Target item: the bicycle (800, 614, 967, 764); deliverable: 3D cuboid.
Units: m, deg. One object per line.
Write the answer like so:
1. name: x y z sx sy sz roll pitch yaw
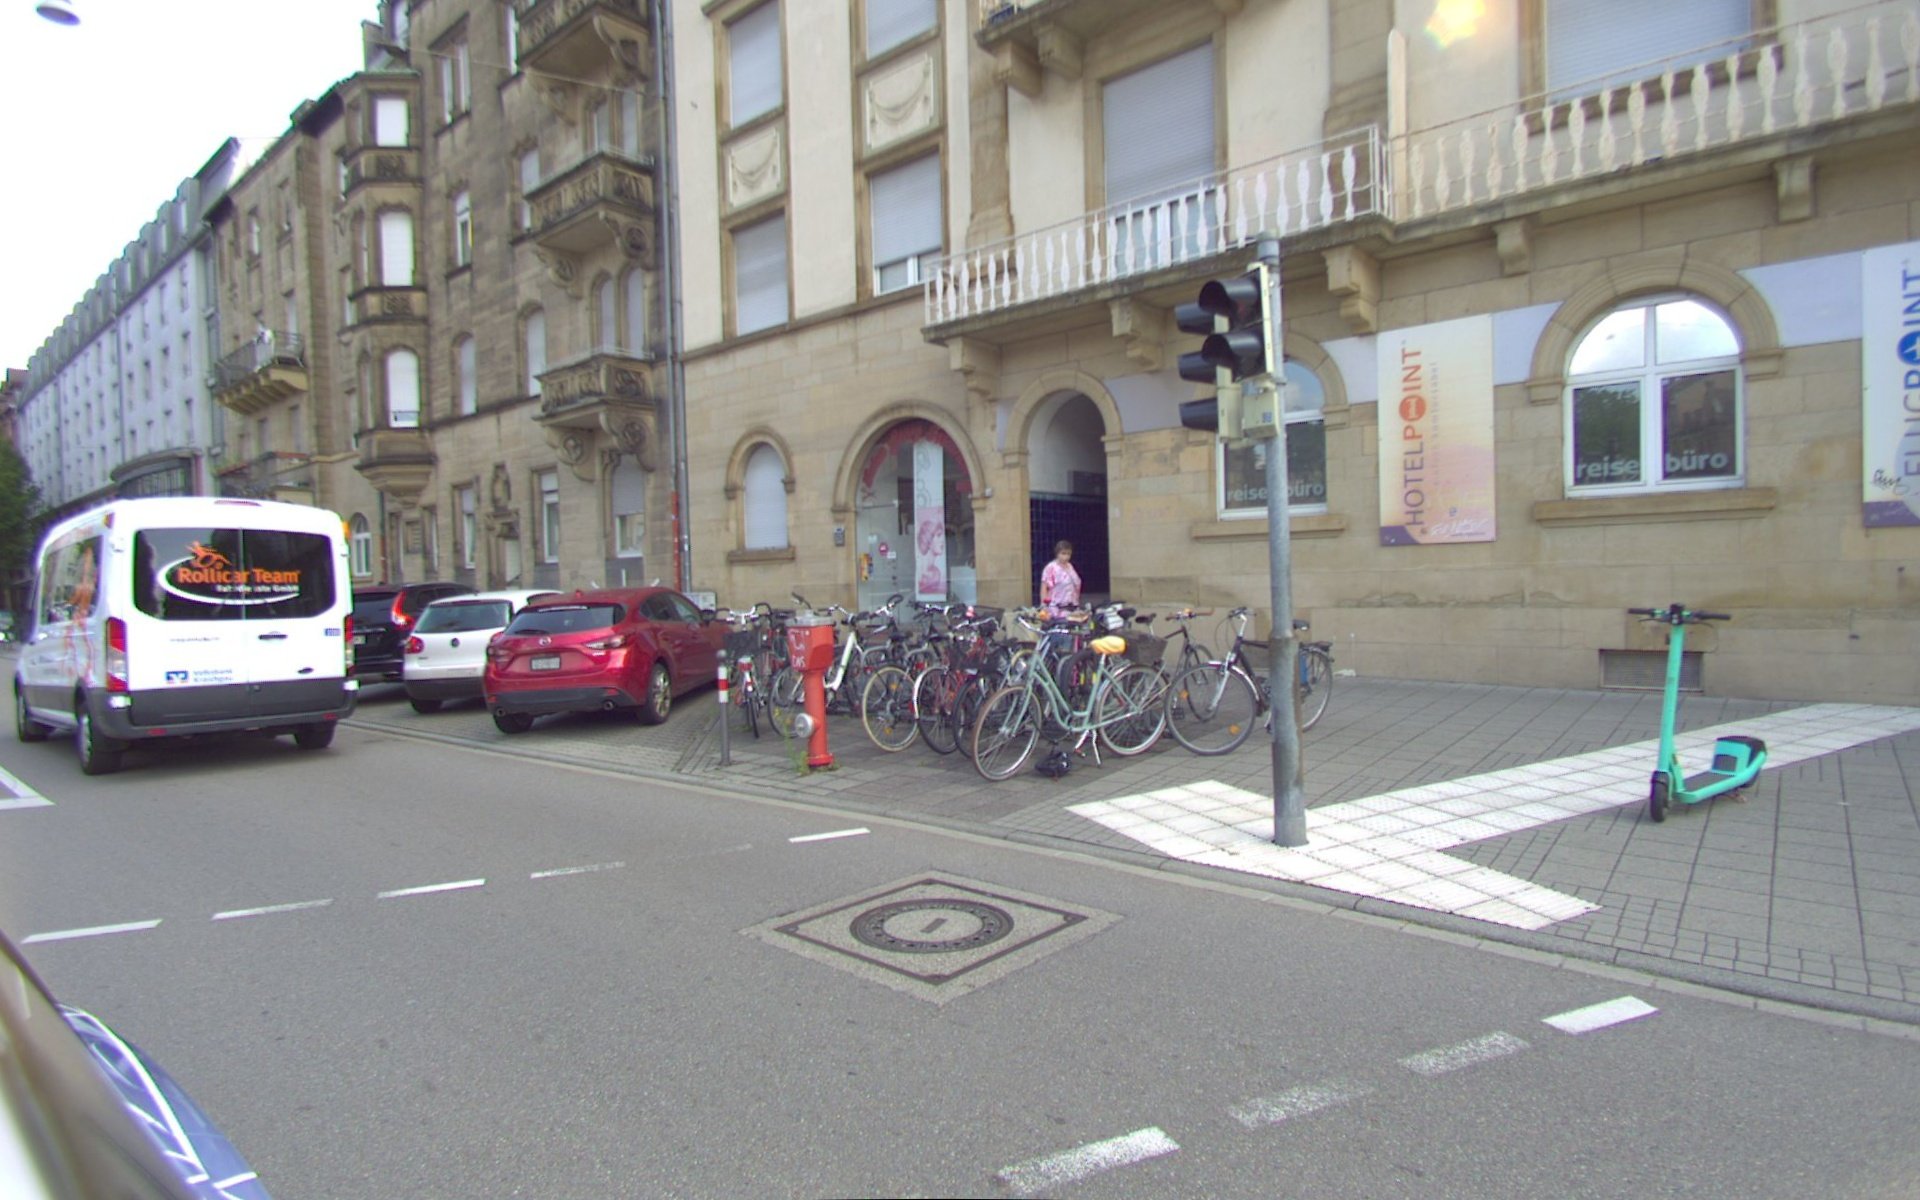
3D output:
1. bicycle: -0.612 0.705 8.595 0.462 1.059 1.464 -1 3 41

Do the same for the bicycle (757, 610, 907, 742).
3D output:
1. bicycle: -1.180 0.679 9.604 0.462 1.059 1.466 -2 2 38

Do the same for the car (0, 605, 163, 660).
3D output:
1. car: -27.356 0.967 31.636 1.708 1.485 3.953 -2 1 1

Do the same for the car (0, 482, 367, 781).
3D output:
1. car: -8.751 0.349 11.051 5.940 2.463 2.055 -3 -2 40

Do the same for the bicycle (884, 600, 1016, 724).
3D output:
1. bicycle: -0.070 0.581 10.149 0.462 1.059 1.466 -2 3 38

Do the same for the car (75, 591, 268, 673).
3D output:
1. car: -20.183 0.755 26.148 1.708 1.596 3.954 -4 4 1

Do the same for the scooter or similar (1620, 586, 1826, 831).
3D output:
1. scooter or similar: 4.242 0.541 5.607 1.232 1.154 0.482 -5 3 -31

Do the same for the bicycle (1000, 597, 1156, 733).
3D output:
1. bicycle: 1.120 0.562 9.366 1.558 1.059 0.481 -5 3 -42

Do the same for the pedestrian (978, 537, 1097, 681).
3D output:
1. pedestrian: 0.946 0.089 12.289 0.996 1.606 0.932 -1 4 42

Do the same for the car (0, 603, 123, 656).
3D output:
1. car: -32.408 1.033 36.078 1.708 1.597 3.953 -4 2 1

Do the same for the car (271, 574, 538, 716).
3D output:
1. car: -8.376 0.567 15.725 1.778 1.701 3.954 -4 3 1

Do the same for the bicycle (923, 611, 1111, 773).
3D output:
1. bicycle: 0.487 0.676 8.055 1.558 1.059 0.481 -5 3 -42

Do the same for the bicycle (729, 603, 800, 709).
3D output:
1. bicycle: -2.310 0.624 12.122 0.549 1.059 1.907 -3 2 -4

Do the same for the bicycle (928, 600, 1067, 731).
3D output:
1. bicycle: 0.390 0.588 9.695 0.462 1.059 1.464 -1 3 42

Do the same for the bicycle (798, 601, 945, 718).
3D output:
1. bicycle: -0.924 0.604 10.903 0.557 1.059 1.611 -2 3 39

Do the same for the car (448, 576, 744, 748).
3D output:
1. car: -3.982 0.570 11.874 1.788 1.467 3.997 -4 3 3

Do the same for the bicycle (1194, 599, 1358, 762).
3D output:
1. bicycle: 2.465 0.576 7.821 1.421 1.059 0.481 -5 3 -40

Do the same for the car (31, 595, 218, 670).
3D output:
1. car: -22.959 0.830 28.024 1.708 1.596 3.954 -4 3 1

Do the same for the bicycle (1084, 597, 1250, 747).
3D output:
1. bicycle: 1.779 0.562 8.555 1.589 1.059 0.481 -5 3 -42

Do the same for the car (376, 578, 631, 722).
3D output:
1. car: -6.139 0.569 14.167 1.707 1.467 3.956 -5 3 0

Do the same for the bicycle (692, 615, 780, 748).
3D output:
1. bicycle: -2.158 0.741 9.937 0.549 1.059 1.815 -3 2 -5

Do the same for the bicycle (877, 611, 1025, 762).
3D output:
1. bicycle: -0.044 0.676 8.433 0.417 1.059 1.355 -2 3 39

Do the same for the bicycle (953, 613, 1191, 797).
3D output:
1. bicycle: 0.839 0.697 7.301 1.708 1.059 0.532 -5 3 -33
